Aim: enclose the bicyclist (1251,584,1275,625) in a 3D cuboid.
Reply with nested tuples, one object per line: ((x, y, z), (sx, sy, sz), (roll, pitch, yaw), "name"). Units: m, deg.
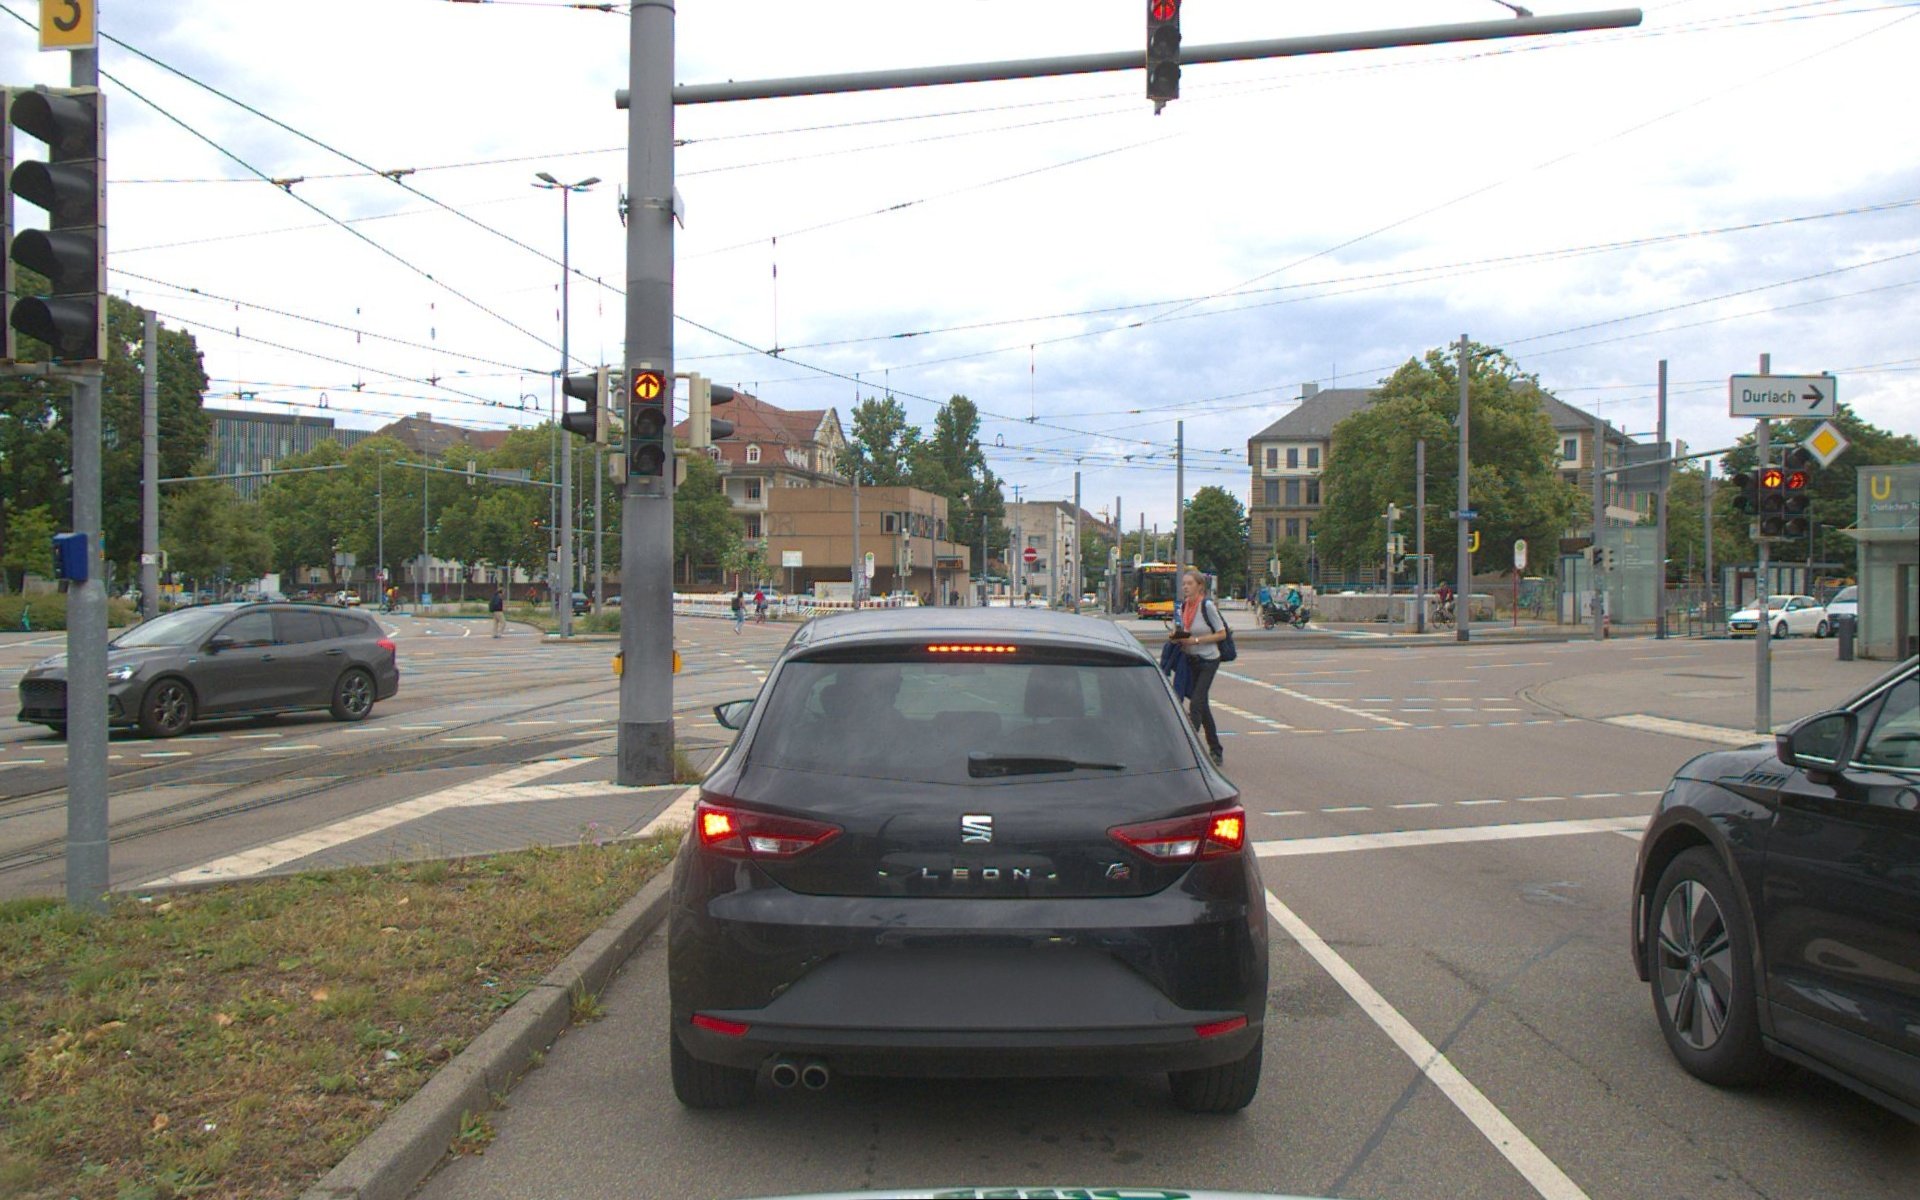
((14.051, 0.195, 76.652), (0.854, 1.884, 1.046), (0, 0, -6), "bicyclist")

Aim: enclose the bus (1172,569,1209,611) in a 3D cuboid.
((19.152, -0.815, 136.946), (2.597, 3.340, 11.004), (0, 0, 10), "bus")

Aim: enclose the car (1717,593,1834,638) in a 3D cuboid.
((27.522, 0.527, 55.787), (3.948, 1.490, 1.756), (0, -1, -32), "car")

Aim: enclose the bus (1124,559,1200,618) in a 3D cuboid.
((11.553, -0.635, 93.617), (2.897, 3.178, 11.548), (0, 0, 14), "bus")

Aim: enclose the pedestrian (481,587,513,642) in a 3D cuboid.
((-16.750, 0.502, 59.878), (1.015, 1.968, 0.695), (0, 0, -26), "pedestrian")

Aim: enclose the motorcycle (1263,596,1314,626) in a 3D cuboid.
((13.216, 0.436, 66.545), (2.115, 1.159, 0.735), (0, 0, -34), "motorcycle")

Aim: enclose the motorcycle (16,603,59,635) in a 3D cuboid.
((-37.899, 0.756, 67.985), (0.503, 1.290, 1.463), (0, 0, 43), "motorcycle")

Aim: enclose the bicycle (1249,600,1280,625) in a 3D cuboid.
((14.070, 0.569, 76.485), (0.849, 1.124, 2.299), (0, 0, -5), "bicycle")

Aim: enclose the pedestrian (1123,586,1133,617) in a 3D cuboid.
((10.617, 0.068, 104.678), (0.608, 1.951, 0.699), (0, 0, 9), "pedestrian")

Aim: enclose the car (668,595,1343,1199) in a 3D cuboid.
((-0.023, 0.729, 5.975), (1.671, 1.474, 3.808), (0, 0, -5), "car")

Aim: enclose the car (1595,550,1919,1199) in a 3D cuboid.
((3.253, 0.694, 3.795), (1.741, 1.625, 4.508), (0, 0, -2), "car")

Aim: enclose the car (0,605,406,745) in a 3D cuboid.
((-8.824, 0.794, 19.657), (1.660, 1.420, 4.389), (0, 0, 26), "car")

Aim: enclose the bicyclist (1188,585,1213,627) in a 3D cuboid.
((9.679, 0.235, 66.492), (0.838, 1.702, 0.653), (0, 0, -9), "bicyclist")

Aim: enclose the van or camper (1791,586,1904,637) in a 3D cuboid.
((32.113, 0.416, 59.827), (4.257, 1.773, 1.974), (0, -1, -36), "van or camper")

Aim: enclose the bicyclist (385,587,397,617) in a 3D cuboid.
((-39.231, 0.115, 113.996), (0.505, 2.049, 0.586), (-1, -2, 42), "bicyclist")

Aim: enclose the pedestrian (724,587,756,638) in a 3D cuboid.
((-8.520, 0.486, 64.036), (0.687, 1.968, 1.026), (0, 0, 38), "pedestrian")

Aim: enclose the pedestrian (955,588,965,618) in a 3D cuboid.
((-0.015, 0.197, 109.989), (0.608, 1.951, 0.711), (0, 0, 2), "pedestrian")

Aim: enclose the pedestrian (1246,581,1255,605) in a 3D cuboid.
((25.383, -0.630, 144.650), (0.648, 2.049, 0.691), (0, 0, -1), "pedestrian")

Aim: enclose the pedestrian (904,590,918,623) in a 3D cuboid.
((-2.877, 0.376, 97.301), (0.693, 1.951, 0.624), (0, 0, 7), "pedestrian")

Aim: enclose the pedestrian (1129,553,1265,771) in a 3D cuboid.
((2.205, 0.553, 15.343), (1.096, 1.940, 0.724), (1, -1, -44), "pedestrian")

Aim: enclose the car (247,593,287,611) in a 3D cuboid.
((-59.623, 0.148, 142.248), (3.930, 1.489, 1.770), (0, 0, 43), "car")

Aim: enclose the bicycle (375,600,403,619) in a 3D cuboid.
((-39.312, 0.646, 113.888), (0.427, 1.258, 1.817), (-1, -2, 42), "bicycle")

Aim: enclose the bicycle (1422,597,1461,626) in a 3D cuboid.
((20.196, 0.459, 69.309), (0.764, 1.205, 2.019), (0, 0, 43), "bicycle")

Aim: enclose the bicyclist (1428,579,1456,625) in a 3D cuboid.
((20.198, 0.087, 69.263), (0.764, 1.931, 0.990), (0, 0, 43), "bicyclist")

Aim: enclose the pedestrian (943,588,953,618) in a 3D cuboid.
((-0.813, 0.194, 110.051), (0.608, 1.951, 0.711), (0, 0, 2), "pedestrian")

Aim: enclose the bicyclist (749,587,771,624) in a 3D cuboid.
((-9.565, 0.250, 79.164), (0.870, 1.762, 0.888), (0, 0, -22), "bicyclist")

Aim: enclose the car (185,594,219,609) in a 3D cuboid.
((-80.708, 0.135, 176.135), (3.927, 1.489, 1.772), (1, 1, 41), "car")

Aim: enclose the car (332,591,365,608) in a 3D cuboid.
((-57.062, -0.035, 154.333), (1.764, 1.489, 3.945), (0, 1, -39), "car")

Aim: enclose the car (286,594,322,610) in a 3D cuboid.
((-64.373, 0.157, 162.249), (3.931, 1.489, 1.770), (1, 1, 43), "car")

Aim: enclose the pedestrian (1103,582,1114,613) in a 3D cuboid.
((9.346, -0.166, 104.188), (0.608, 1.951, 0.699), (0, 0, 9), "pedestrian")

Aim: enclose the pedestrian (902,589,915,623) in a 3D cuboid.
((-2.995, 0.364, 96.503), (0.693, 1.951, 0.624), (0, 0, 7), "pedestrian")

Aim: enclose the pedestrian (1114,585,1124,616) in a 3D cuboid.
((10.182, 0.021, 105.841), (0.608, 1.951, 0.711), (0, 0, 2), "pedestrian")

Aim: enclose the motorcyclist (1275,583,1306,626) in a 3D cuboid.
((13.298, 0.180, 66.601), (0.968, 1.678, 0.741), (0, -1, -34), "motorcyclist")

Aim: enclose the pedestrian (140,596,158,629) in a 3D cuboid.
((-49.981, 0.787, 101.921), (0.865, 2.016, 0.791), (0, -1, -19), "pedestrian")

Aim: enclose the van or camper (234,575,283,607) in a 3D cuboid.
((-69.256, -0.889, 163.169), (5.403, 3.179, 2.382), (0, 0, 41), "van or camper")

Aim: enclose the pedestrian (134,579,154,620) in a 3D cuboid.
((-40.639, -0.008, 82.357), (0.787, 2.016, 0.870), (1, -2, -35), "pedestrian")

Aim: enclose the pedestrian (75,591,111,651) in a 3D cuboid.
((-29.867, 0.710, 56.991), (1.006, 2.049, 0.841), (0, 0, -20), "pedestrian")

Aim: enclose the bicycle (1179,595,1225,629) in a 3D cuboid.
((9.726, 0.468, 66.496), (1.698, 1.345, 0.644), (0, 0, -9), "bicycle")

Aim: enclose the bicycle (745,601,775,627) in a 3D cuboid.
((-9.624, 0.677, 79.363), (0.879, 1.199, 2.286), (0, 0, -22), "bicycle")

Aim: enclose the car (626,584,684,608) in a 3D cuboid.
((-22.626, -0.324, 122.667), (3.905, 1.713, 2.000), (0, -1, 0), "car")

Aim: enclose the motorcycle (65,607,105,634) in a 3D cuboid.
((-36.980, 0.857, 69.927), (0.499, 1.130, 1.746), (0, 0, 12), "motorcycle")

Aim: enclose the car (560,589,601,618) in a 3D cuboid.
((-23.953, 0.227, 104.371), (1.966, 1.713, 3.973), (0, -1, -22), "car")

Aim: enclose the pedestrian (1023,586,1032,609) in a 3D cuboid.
((5.844, -0.202, 143.209), (0.609, 1.952, 0.710), (-1, -1, 25), "pedestrian")

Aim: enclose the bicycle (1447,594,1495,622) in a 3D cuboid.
((25.522, 0.408, 82.623), (2.214, 1.354, 0.707), (-1, -1, 6), "bicycle")
